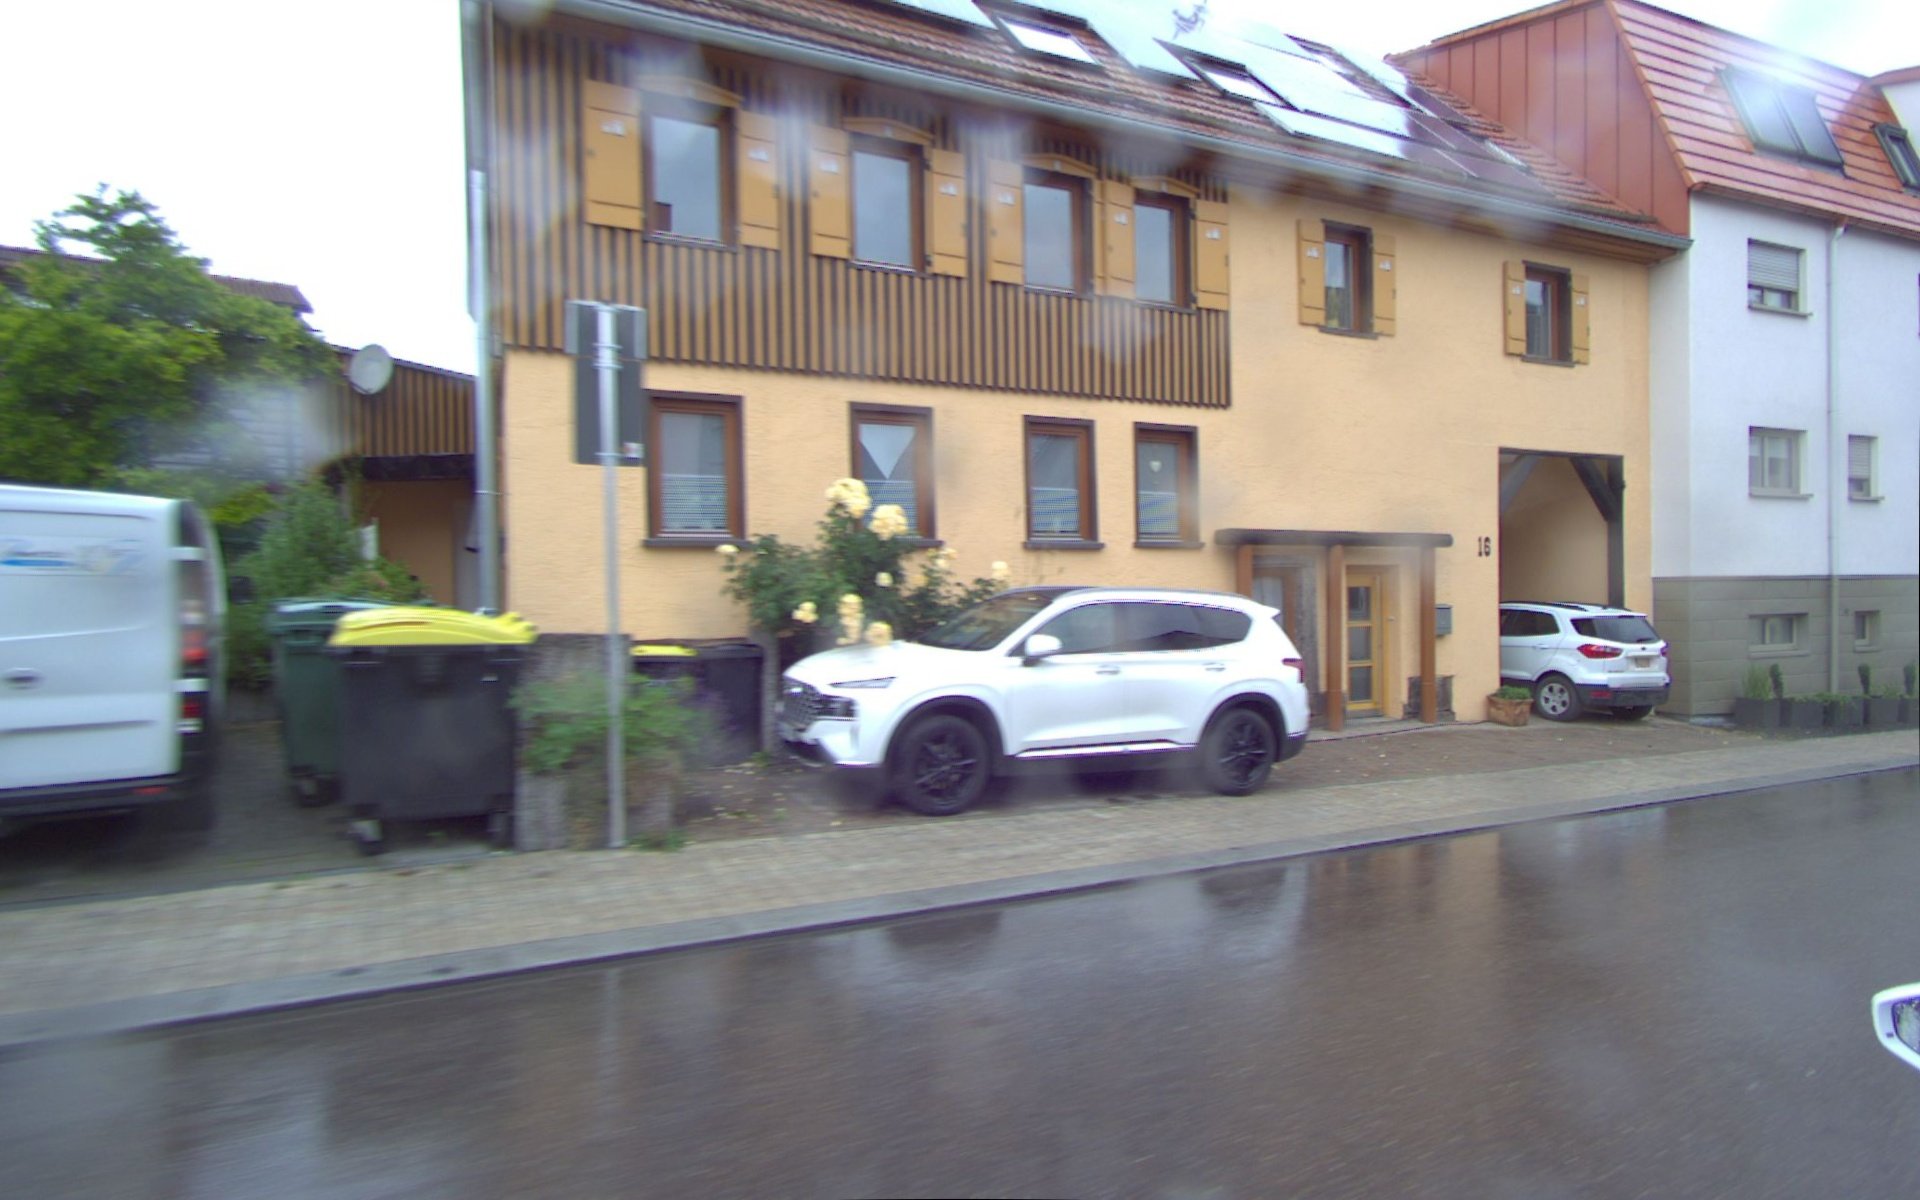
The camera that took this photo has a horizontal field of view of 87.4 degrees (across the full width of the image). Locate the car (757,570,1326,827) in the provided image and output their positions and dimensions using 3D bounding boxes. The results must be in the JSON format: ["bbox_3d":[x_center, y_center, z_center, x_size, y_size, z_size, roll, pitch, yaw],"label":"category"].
[{"bbox_3d":[0.740,0.710,8.557,4.554,1.728,1.808,1,-1,-25],"label":"car"}]

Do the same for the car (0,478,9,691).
[{"bbox_3d":[-11.076,-0.120,9.377,2.046,2.562,5.811,1,1,-32],"label":"car"}]

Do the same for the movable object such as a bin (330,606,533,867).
[{"bbox_3d":[-3.255,0.745,6.164,0.985,1.386,1.279,1,-1,-31],"label":"movable object such as a bin"}]

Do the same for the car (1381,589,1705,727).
[{"bbox_3d":[8.843,0.782,15.645,1.852,1.693,3.975,1,2,-24],"label":"car"}]

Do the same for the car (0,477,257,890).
[{"bbox_3d":[-5.950,0.287,6.664,1.981,2.006,4.475,-1,4,-36],"label":"car"}]

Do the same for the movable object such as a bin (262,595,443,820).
[{"bbox_3d":[-4.300,0.676,7.157,0.985,1.386,1.498,1,0,-31],"label":"movable object such as a bin"}]
